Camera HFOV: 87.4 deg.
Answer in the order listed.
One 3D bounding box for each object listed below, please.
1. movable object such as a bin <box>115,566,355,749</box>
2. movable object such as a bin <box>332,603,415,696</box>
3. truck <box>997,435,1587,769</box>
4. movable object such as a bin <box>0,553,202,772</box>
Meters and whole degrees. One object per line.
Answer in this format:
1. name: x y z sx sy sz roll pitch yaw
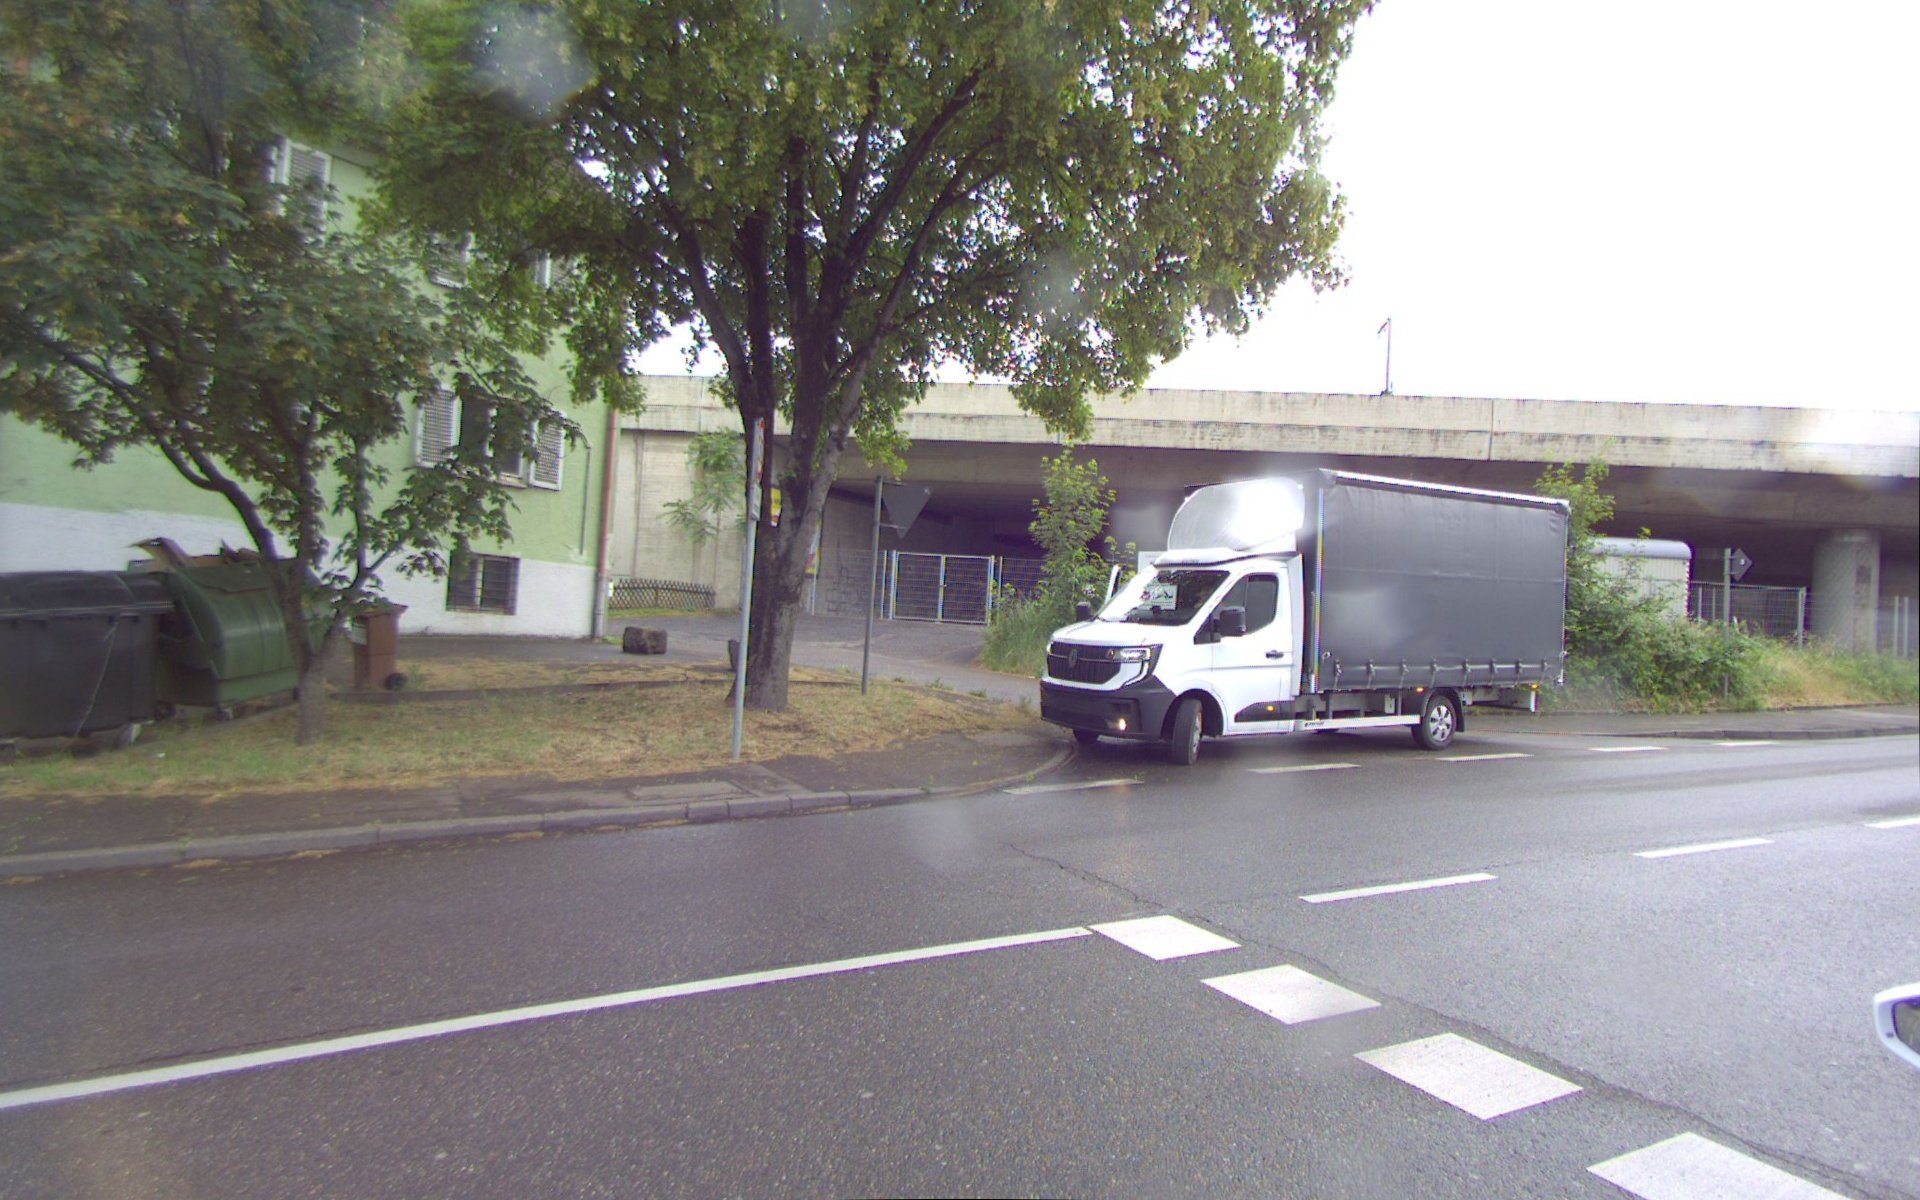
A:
1. movable object such as a bin: -6.728 0.470 9.424 1.078 1.457 1.463 5 5 13
2. movable object such as a bin: -6.352 0.531 10.906 0.715 0.970 0.554 3 -1 -30
3. truck: 4.463 0.178 12.860 7.681 3.279 2.599 3 -1 -29
4. movable object such as a bin: -7.295 0.416 8.060 1.268 1.457 1.463 5 5 13
